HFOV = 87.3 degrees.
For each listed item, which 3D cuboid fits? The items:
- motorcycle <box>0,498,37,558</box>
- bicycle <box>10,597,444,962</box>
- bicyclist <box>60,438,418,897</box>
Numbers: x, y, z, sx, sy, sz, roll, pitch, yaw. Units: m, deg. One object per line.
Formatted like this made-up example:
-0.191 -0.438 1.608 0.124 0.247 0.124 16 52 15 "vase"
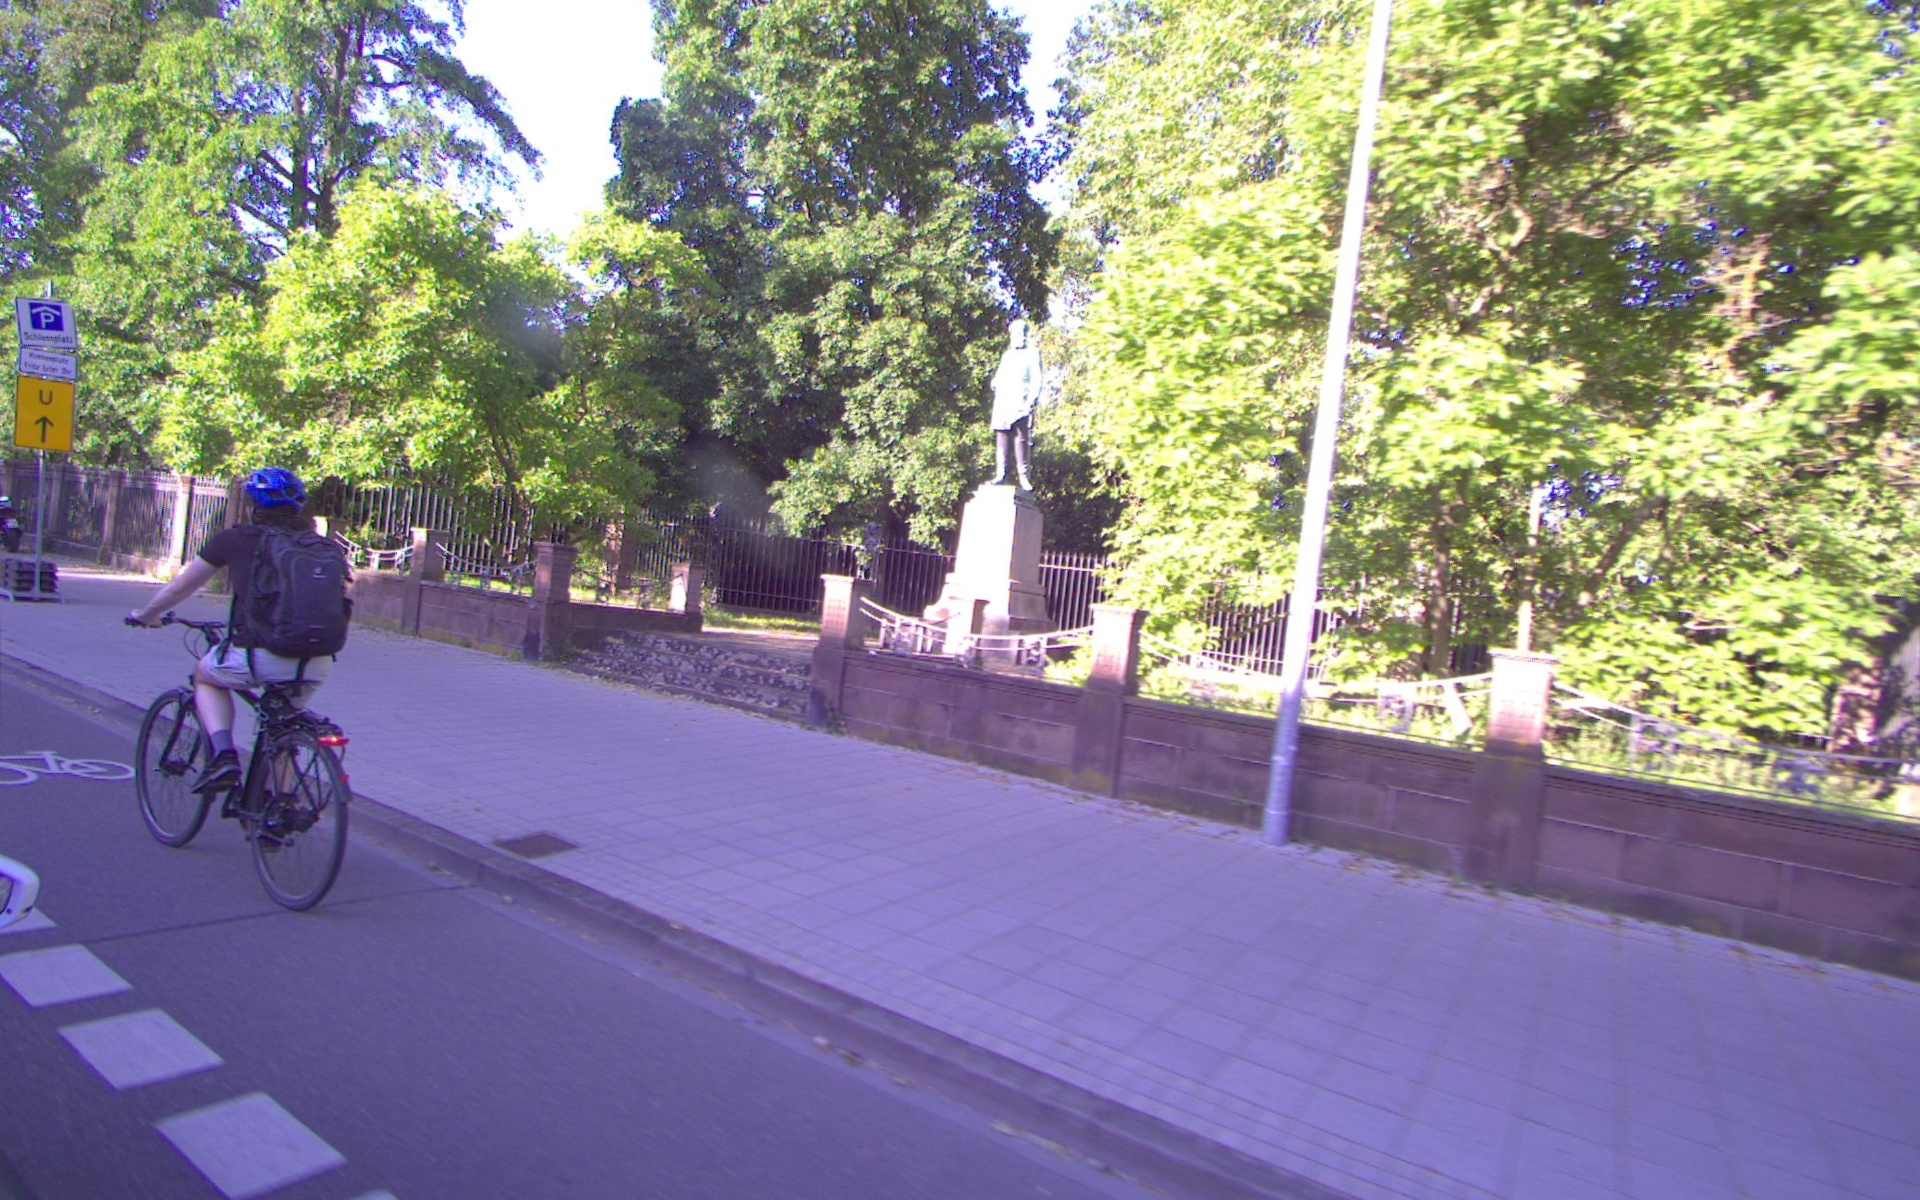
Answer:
-20.774 -1.595 21.715 2.289 1.183 0.662 7 3 32 "motorcycle"
-3.181 0.639 4.276 2.176 1.037 0.644 7 -1 32 "bicycle"
-3.018 0.214 4.194 1.263 1.634 0.637 7 0 32 "bicyclist"
